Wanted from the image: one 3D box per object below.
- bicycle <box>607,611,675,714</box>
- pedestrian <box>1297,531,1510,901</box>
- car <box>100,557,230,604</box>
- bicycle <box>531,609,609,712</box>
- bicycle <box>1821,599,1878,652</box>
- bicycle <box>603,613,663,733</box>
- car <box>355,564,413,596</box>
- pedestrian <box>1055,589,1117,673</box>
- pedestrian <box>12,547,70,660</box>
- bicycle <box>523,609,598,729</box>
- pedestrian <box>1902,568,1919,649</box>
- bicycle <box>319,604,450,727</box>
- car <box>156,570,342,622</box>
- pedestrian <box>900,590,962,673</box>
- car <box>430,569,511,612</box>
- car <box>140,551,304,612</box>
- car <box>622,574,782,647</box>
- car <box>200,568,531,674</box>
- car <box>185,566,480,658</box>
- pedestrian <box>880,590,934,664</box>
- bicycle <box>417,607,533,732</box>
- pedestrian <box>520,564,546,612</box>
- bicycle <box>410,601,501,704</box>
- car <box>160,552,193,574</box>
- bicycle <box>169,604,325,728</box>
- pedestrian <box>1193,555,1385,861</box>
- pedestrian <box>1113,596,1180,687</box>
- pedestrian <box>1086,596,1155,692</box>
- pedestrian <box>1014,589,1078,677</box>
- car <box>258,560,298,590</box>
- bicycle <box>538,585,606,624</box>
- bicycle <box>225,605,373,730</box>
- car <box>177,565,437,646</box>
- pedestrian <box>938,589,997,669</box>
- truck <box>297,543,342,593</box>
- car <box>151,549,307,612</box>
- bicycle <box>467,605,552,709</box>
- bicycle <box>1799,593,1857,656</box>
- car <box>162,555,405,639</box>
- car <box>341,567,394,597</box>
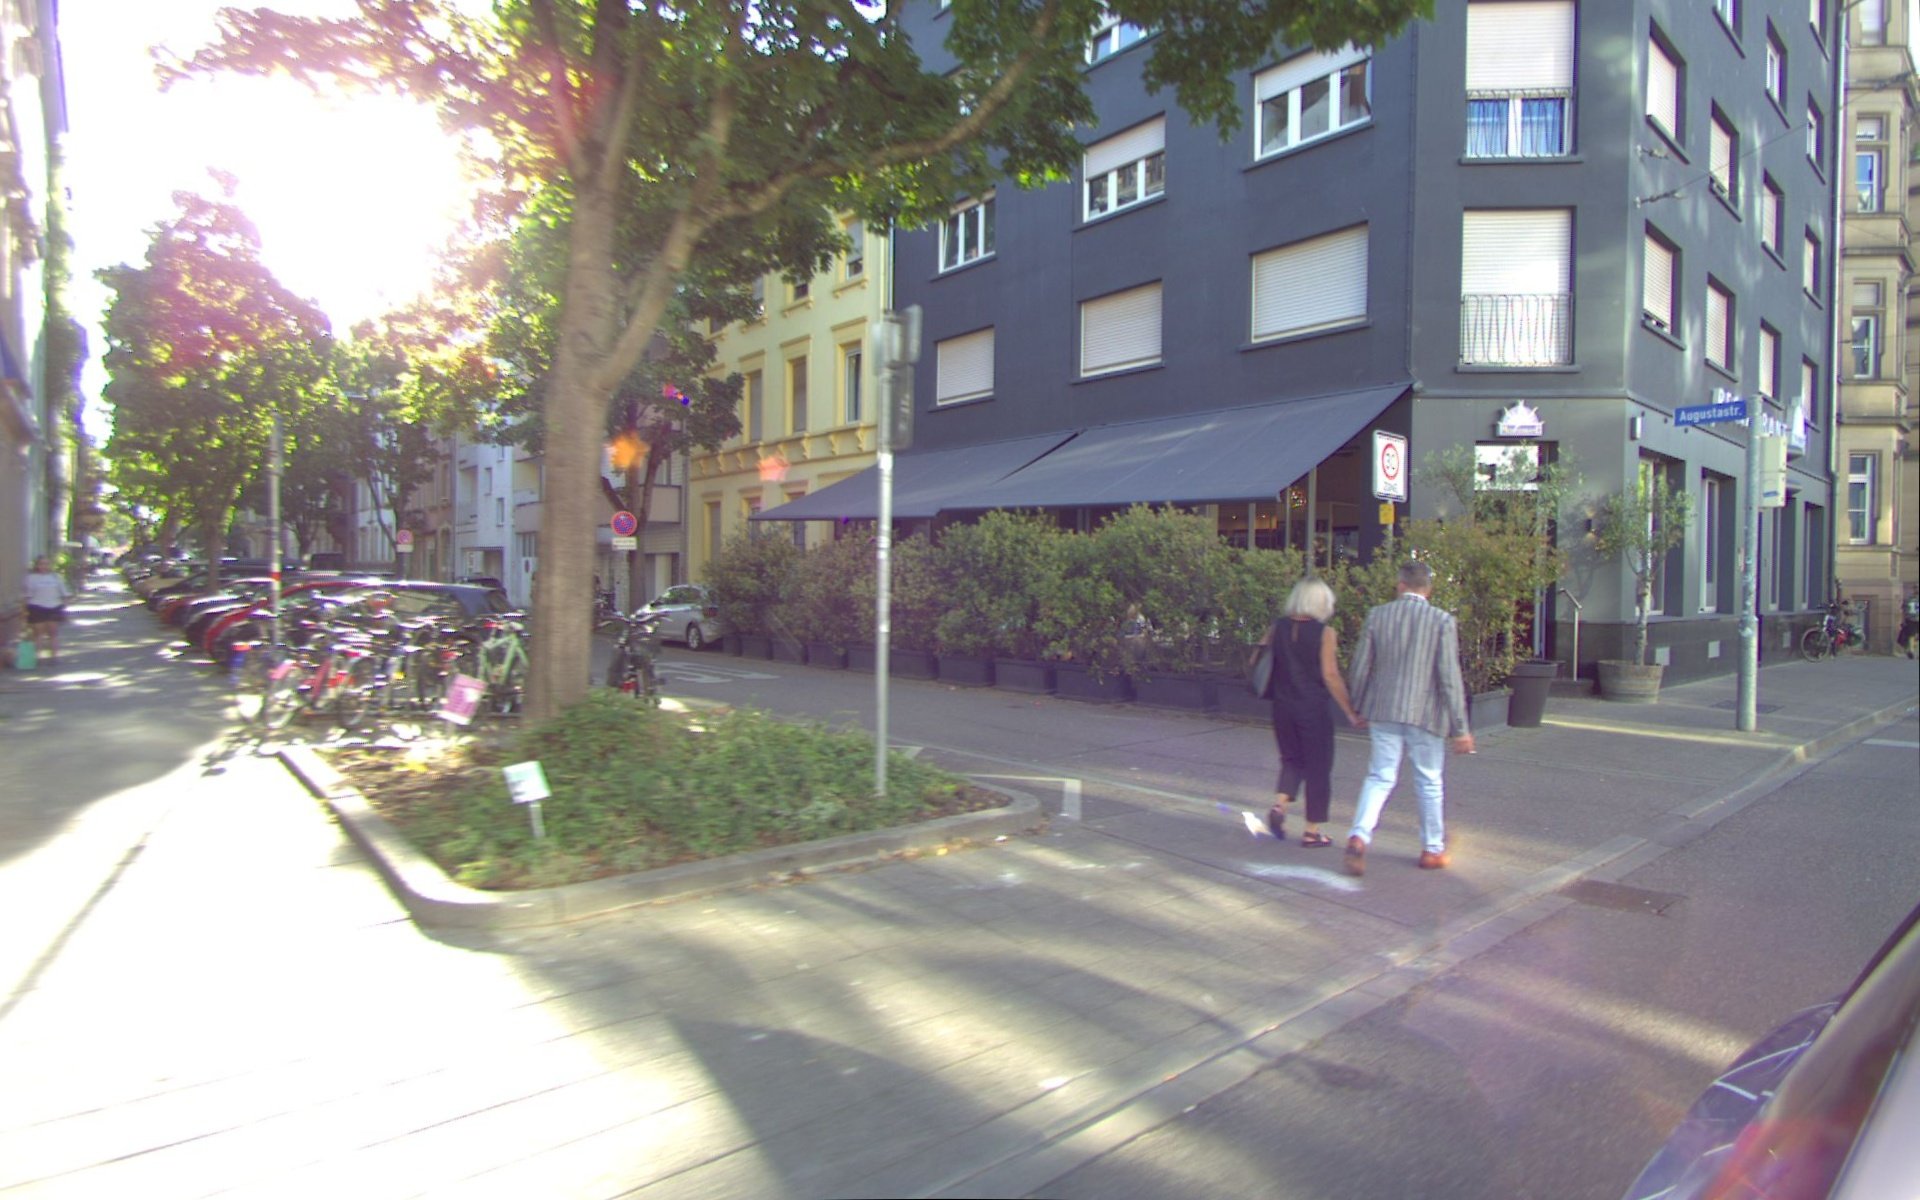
[{"bbox_3d":[-3.527,0.664,11.247,0.449,1.027,1.326,2,0,-6],"label":"bicycle"},{"bbox_3d":[2.389,0.556,5.460,0.760,1.796,0.714,1,3,-44],"label":"pedestrian"},{"bbox_3d":[-33.809,-0.814,43.149,3.916,1.871,1.803,1,-1,-14],"label":"car"},{"bbox_3d":[-4.267,0.632,11.142,0.449,1.027,1.326,2,0,-6],"label":"bicycle"},{"bbox_3d":[19.608,0.539,22.297,1.771,1.083,0.593,0,4,-39],"label":"bicycle"},{"bbox_3d":[-3.162,0.668,9.737,0.449,1.027,1.328,2,0,-21],"label":"bicycle"},{"bbox_3d":[-28.045,-0.981,49.252,1.846,1.482,3.996,-2,2,-39],"label":"car"},{"bbox_3d":[1.889,0.448,15.234,0.638,1.219,0.649,0,1,-40],"label":"pedestrian"},{"bbox_3d":[-14.063,0.046,15.488,0.639,1.682,0.648,0,1,-44],"label":"pedestrian"},{"bbox_3d":[-3.782,0.622,9.647,0.449,1.027,1.327,2,0,-13],"label":"bicycle"},{"bbox_3d":[22.254,0.210,23.217,0.783,1.846,0.802,1,2,-41],"label":"pedestrian"},{"bbox_3d":[-5.388,0.573,9.569,0.449,1.027,1.620,2,0,-6],"label":"bicycle"},{"bbox_3d":[-20.021,-0.095,28.673,3.916,1.355,1.803,1,0,-14],"label":"car"},{"bbox_3d":[-0.462,0.482,16.111,0.638,1.277,0.748,0,1,-40],"label":"pedestrian"},{"bbox_3d":[-18.182,-0.386,37.530,1.846,1.482,3.996,-2,2,-39],"label":"car"},{"bbox_3d":[-24.109,-0.585,33.220,3.916,1.871,1.803,1,-1,-14],"label":"car"},{"bbox_3d":[-5.895,0.157,22.851,1.848,1.482,3.992,-2,2,-42],"label":"car"},{"bbox_3d":[-8.865,0.325,15.456,3.999,1.483,1.730,1,-1,-14],"label":"car"},{"bbox_3d":[-10.734,0.222,17.610,3.999,1.483,1.730,1,-1,-14],"label":"car"},{"bbox_3d":[-0.957,0.471,18.129,0.638,1.277,0.748,0,1,-40],"label":"pedestrian"},{"bbox_3d":[-4.508,0.607,9.508,0.449,1.027,1.620,2,0,-6],"label":"bicycle"},{"bbox_3d":[-15.183,-0.419,35.973,0.648,1.682,0.640,1,1,43],"label":"pedestrian"},{"bbox_3d":[-5.492,0.539,11.081,0.449,1.027,1.326,2,0,-6],"label":"bicycle"},{"bbox_3d":[-65.213,-3.059,84.201,2.132,1.820,3.996,-2,2,-39],"label":"car"},{"bbox_3d":[-6.634,0.571,9.511,0.449,1.027,1.620,2,0,-6],"label":"bicycle"},{"bbox_3d":[1.935,0.577,5.964,0.760,1.622,0.714,1,3,-44],"label":"pedestrian"},{"bbox_3d":[2.605,0.557,14.170,0.638,1.219,0.649,0,1,-40],"label":"pedestrian"},{"bbox_3d":[2.160,0.570,13.623,0.638,1.219,0.649,0,1,-40],"label":"pedestrian"},{"bbox_3d":[1.241,0.466,14.664,0.638,1.219,0.649,0,1,-40],"label":"pedestrian"},{"bbox_3d":[-47.843,-1.749,70.941,1.964,2.038,3.996,-2,2,-39],"label":"car"},{"bbox_3d":[-11.444,0.115,29.877,1.768,1.121,0.618,-1,1,-41],"label":"bicycle"},{"bbox_3d":[-6.123,0.586,9.468,0.449,1.027,1.620,2,0,-6],"label":"bicycle"},{"bbox_3d":[-12.849,0.124,20.181,3.999,1.483,1.730,1,-1,-14],"label":"car"},{"bbox_3d":[0.124,0.465,16.790,0.638,1.277,0.748,0,1,-40],"label":"pedestrian"},{"bbox_3d":[-39.368,-1.965,62.193,1.846,2.908,4.284,-2,2,-39],"label":"truck"},{"bbox_3d":[-25.413,-0.661,35.327,3.999,2.052,1.730,1,-1,-14],"label":"car"},{"bbox_3d":[-4.891,0.588,11.047,0.449,1.027,1.326,2,0,-6],"label":"bicycle"},{"bbox_3d":[18.148,0.492,21.150,1.875,1.212,0.624,0,4,-43],"label":"bicycle"},{"bbox_3d":[-14.548,-0.037,21.998,3.999,1.684,1.730,1,-1,-14],"label":"car"},{"bbox_3d":[-30.893,-0.964,52.721,1.846,1.482,3.996,-2,2,-39],"label":"car"}]
